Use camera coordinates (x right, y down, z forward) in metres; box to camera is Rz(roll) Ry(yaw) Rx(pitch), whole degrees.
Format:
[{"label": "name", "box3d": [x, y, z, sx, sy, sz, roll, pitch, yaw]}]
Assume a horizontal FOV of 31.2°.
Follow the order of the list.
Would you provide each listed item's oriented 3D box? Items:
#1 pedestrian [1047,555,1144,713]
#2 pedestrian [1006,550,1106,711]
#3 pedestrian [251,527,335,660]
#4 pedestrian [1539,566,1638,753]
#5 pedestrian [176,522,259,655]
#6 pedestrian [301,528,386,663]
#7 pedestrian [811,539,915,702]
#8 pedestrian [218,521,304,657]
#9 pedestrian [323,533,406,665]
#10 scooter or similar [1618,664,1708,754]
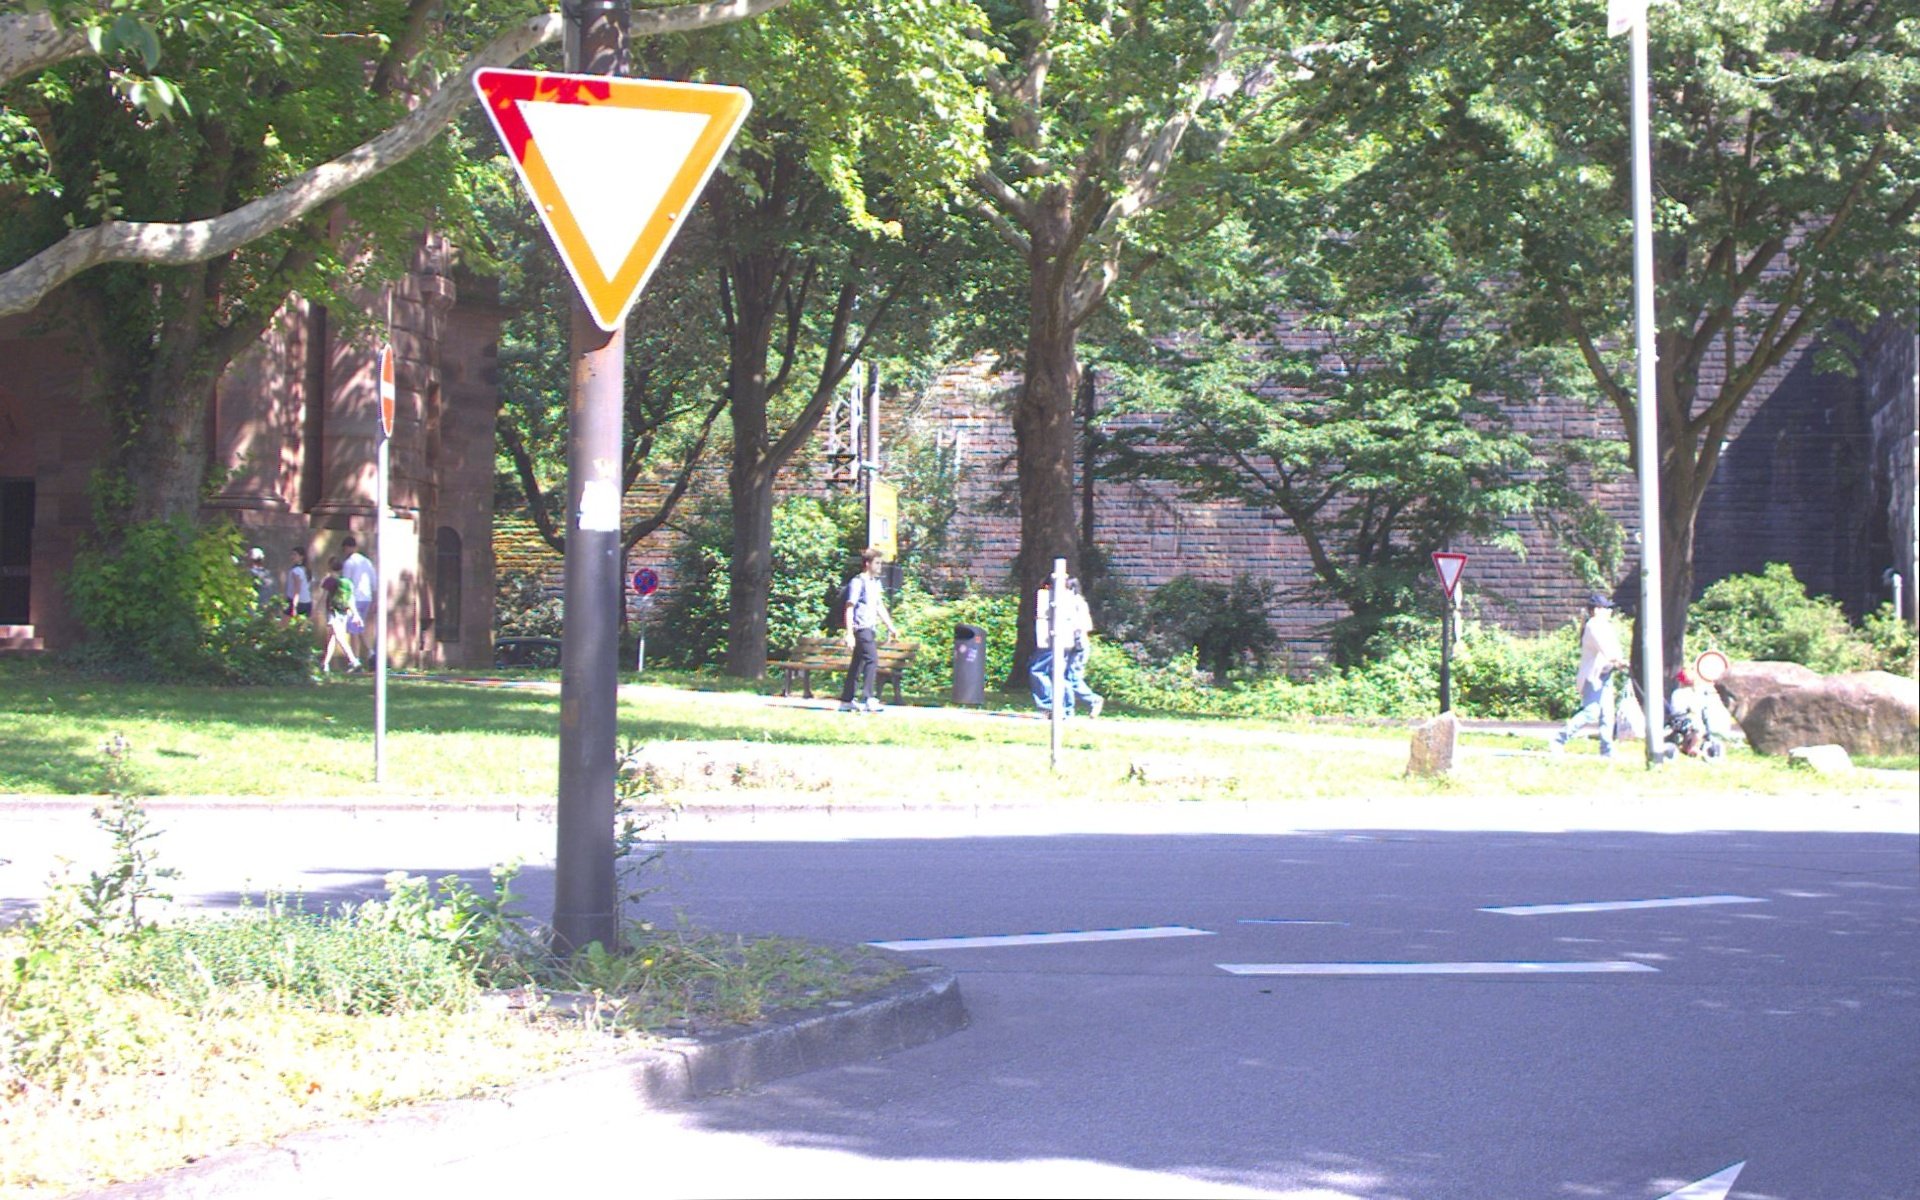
[{"label": "pedestrian", "box3d": [1.537, 0.387, 38.996, 0.793, 1.750, 0.665, 4, -2, -44]}, {"label": "pedestrian", "box3d": [1.071, 0.339, 38.280, 0.793, 1.750, 0.665, 4, -2, -44]}, {"label": "pedestrian", "box3d": [-9.025, -0.089, 46.508, 0.793, 1.750, 0.665, 4, -2, -44]}, {"label": "pedestrian", "box3d": [6.002, 0.554, 32.810, 0.761, 1.750, 0.764, 1, 1, 22]}, {"label": "pedestrian", "box3d": [-10.066, -0.157, 46.618, 0.793, 1.750, 0.665, 4, -2, -44]}, {"label": "pedestrian", "box3d": [-8.190, -0.061, 45.686, 0.793, 1.750, 0.665, 4, -2, -44]}, {"label": "pedestrian", "box3d": [-1.071, 0.226, 37.960, 0.793, 1.750, 0.722, 4, -2, -44]}, {"label": "pedestrian", "box3d": [-9.240, -0.142, 45.467, 0.793, 1.750, 0.665, 4, -2, -44]}, {"label": "pedestrian", "box3d": [-8.098, -0.014, 46.771, 0.793, 1.750, 0.665, 4, -2, -44]}, {"label": "scooter or similar", "box3d": [6.676, 1.026, 32.626, 0.731, 0.809, 0.569, 1, 1, 22]}]
